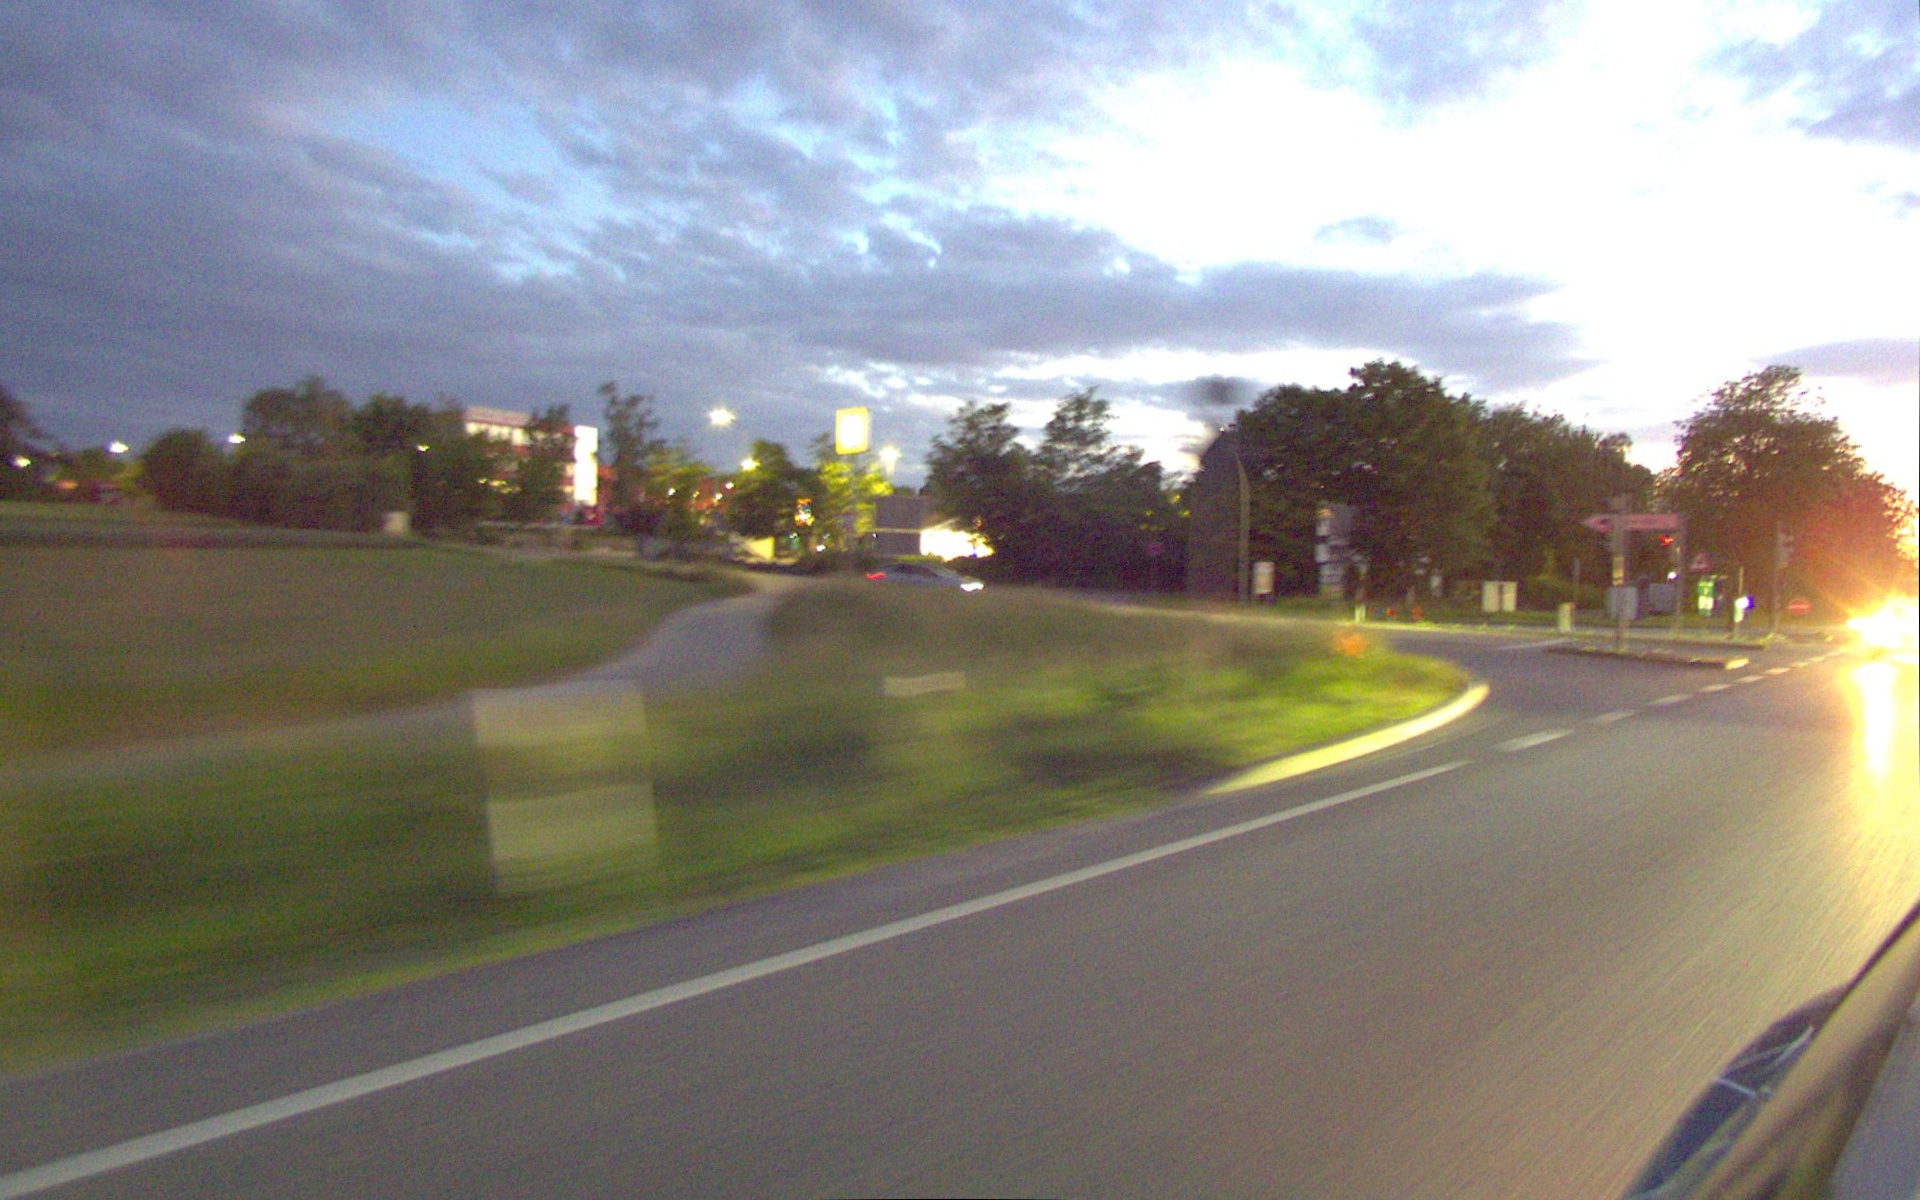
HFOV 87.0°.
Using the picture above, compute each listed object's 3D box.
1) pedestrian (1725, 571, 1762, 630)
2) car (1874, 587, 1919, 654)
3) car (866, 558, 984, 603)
[{"bbox_3d":[27.418,0.024,35.427,0.768,2.039,0.712,0,0,9],"label":"pedestrian"},{"bbox_3d":[23.936,0.510,25.018,3.651,1.556,1.661,1,0,-43],"label":"car"},{"bbox_3d":[-1.335,-0.756,39.872,4.402,1.685,1.996,0,1,8],"label":"car"}]
